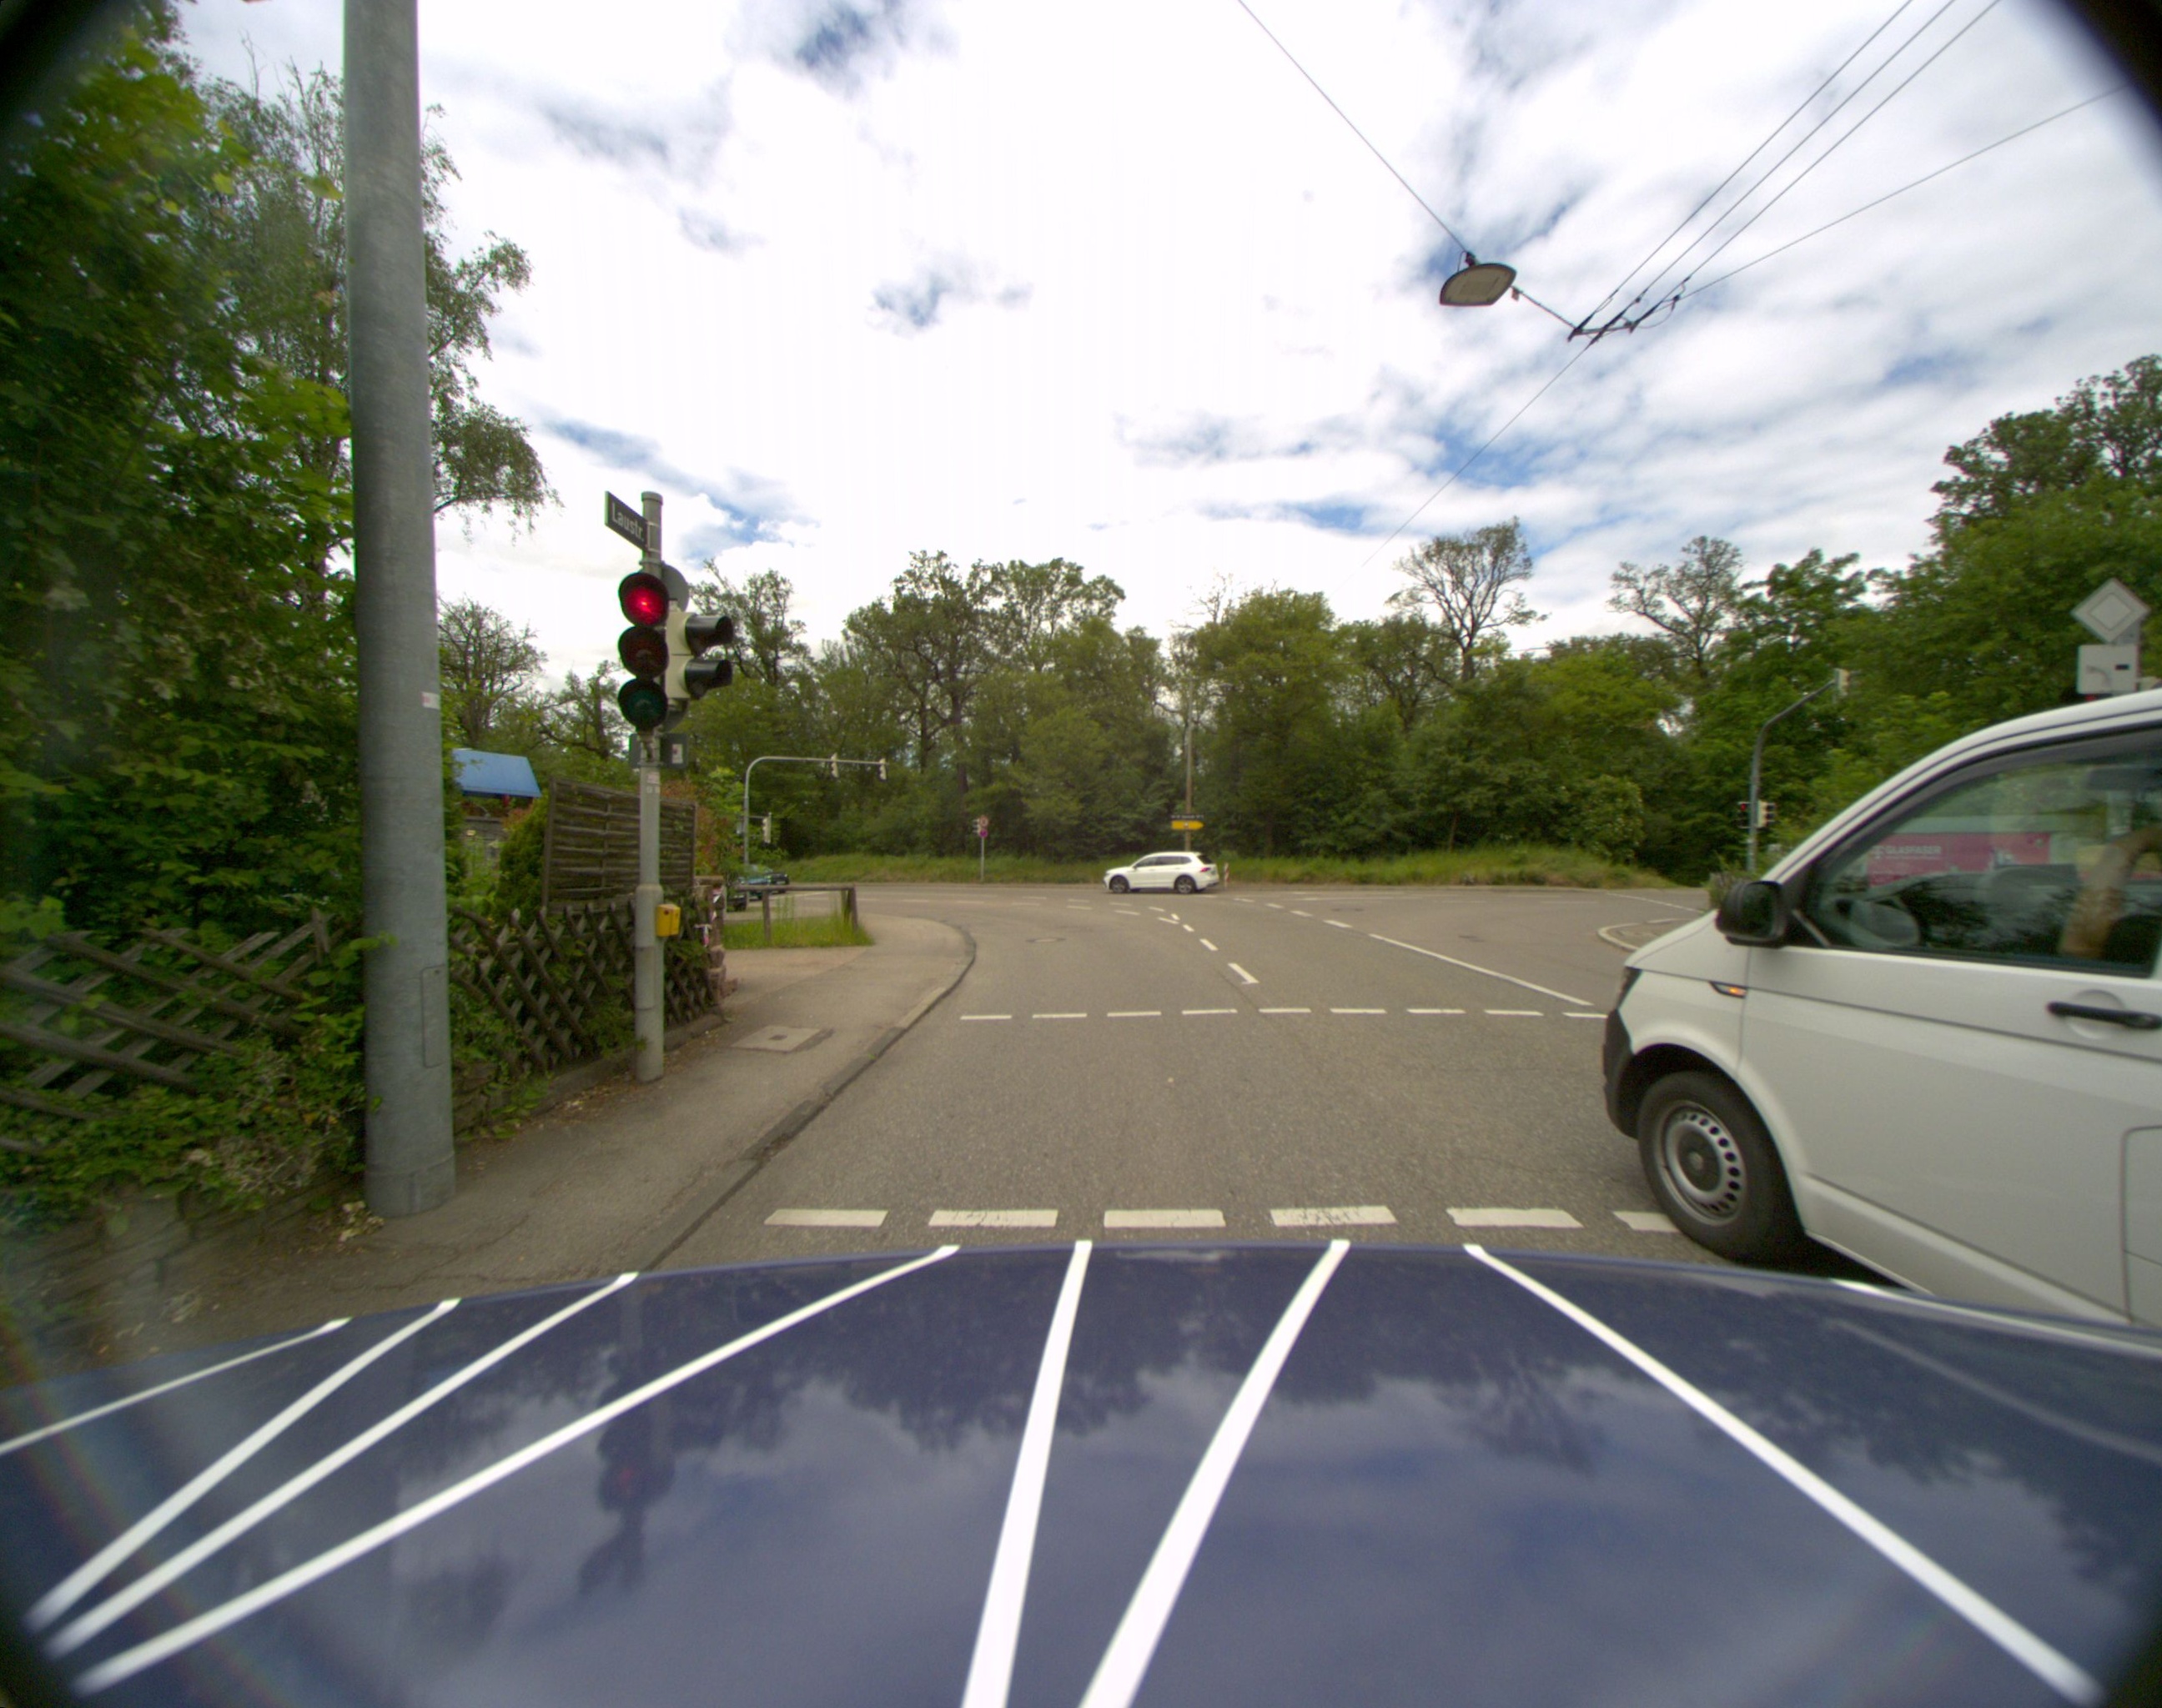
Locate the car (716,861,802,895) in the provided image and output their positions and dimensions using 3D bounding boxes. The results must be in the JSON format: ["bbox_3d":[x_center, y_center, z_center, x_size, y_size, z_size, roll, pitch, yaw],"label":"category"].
[{"bbox_3d":[-15.994,1.183,37.748,3.989,1.499,1.740,-1,3,29],"label":"car"}]

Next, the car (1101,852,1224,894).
[{"bbox_3d":[3.302,0.739,30.980,4.642,1.618,1.867,0,0,25],"label":"car"}]

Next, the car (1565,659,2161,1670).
[{"bbox_3d":[3.095,0.635,0.864,1.862,2.036,5.171,0,1,1],"label":"car"}]

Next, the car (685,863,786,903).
[{"bbox_3d":[-15.444,1.249,33.966,3.990,1.568,1.918,0,3,26],"label":"car"}]

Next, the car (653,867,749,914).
[{"bbox_3d":[-12.083,1.105,24.101,3.594,1.382,1.660,-1,-1,45],"label":"car"}]
